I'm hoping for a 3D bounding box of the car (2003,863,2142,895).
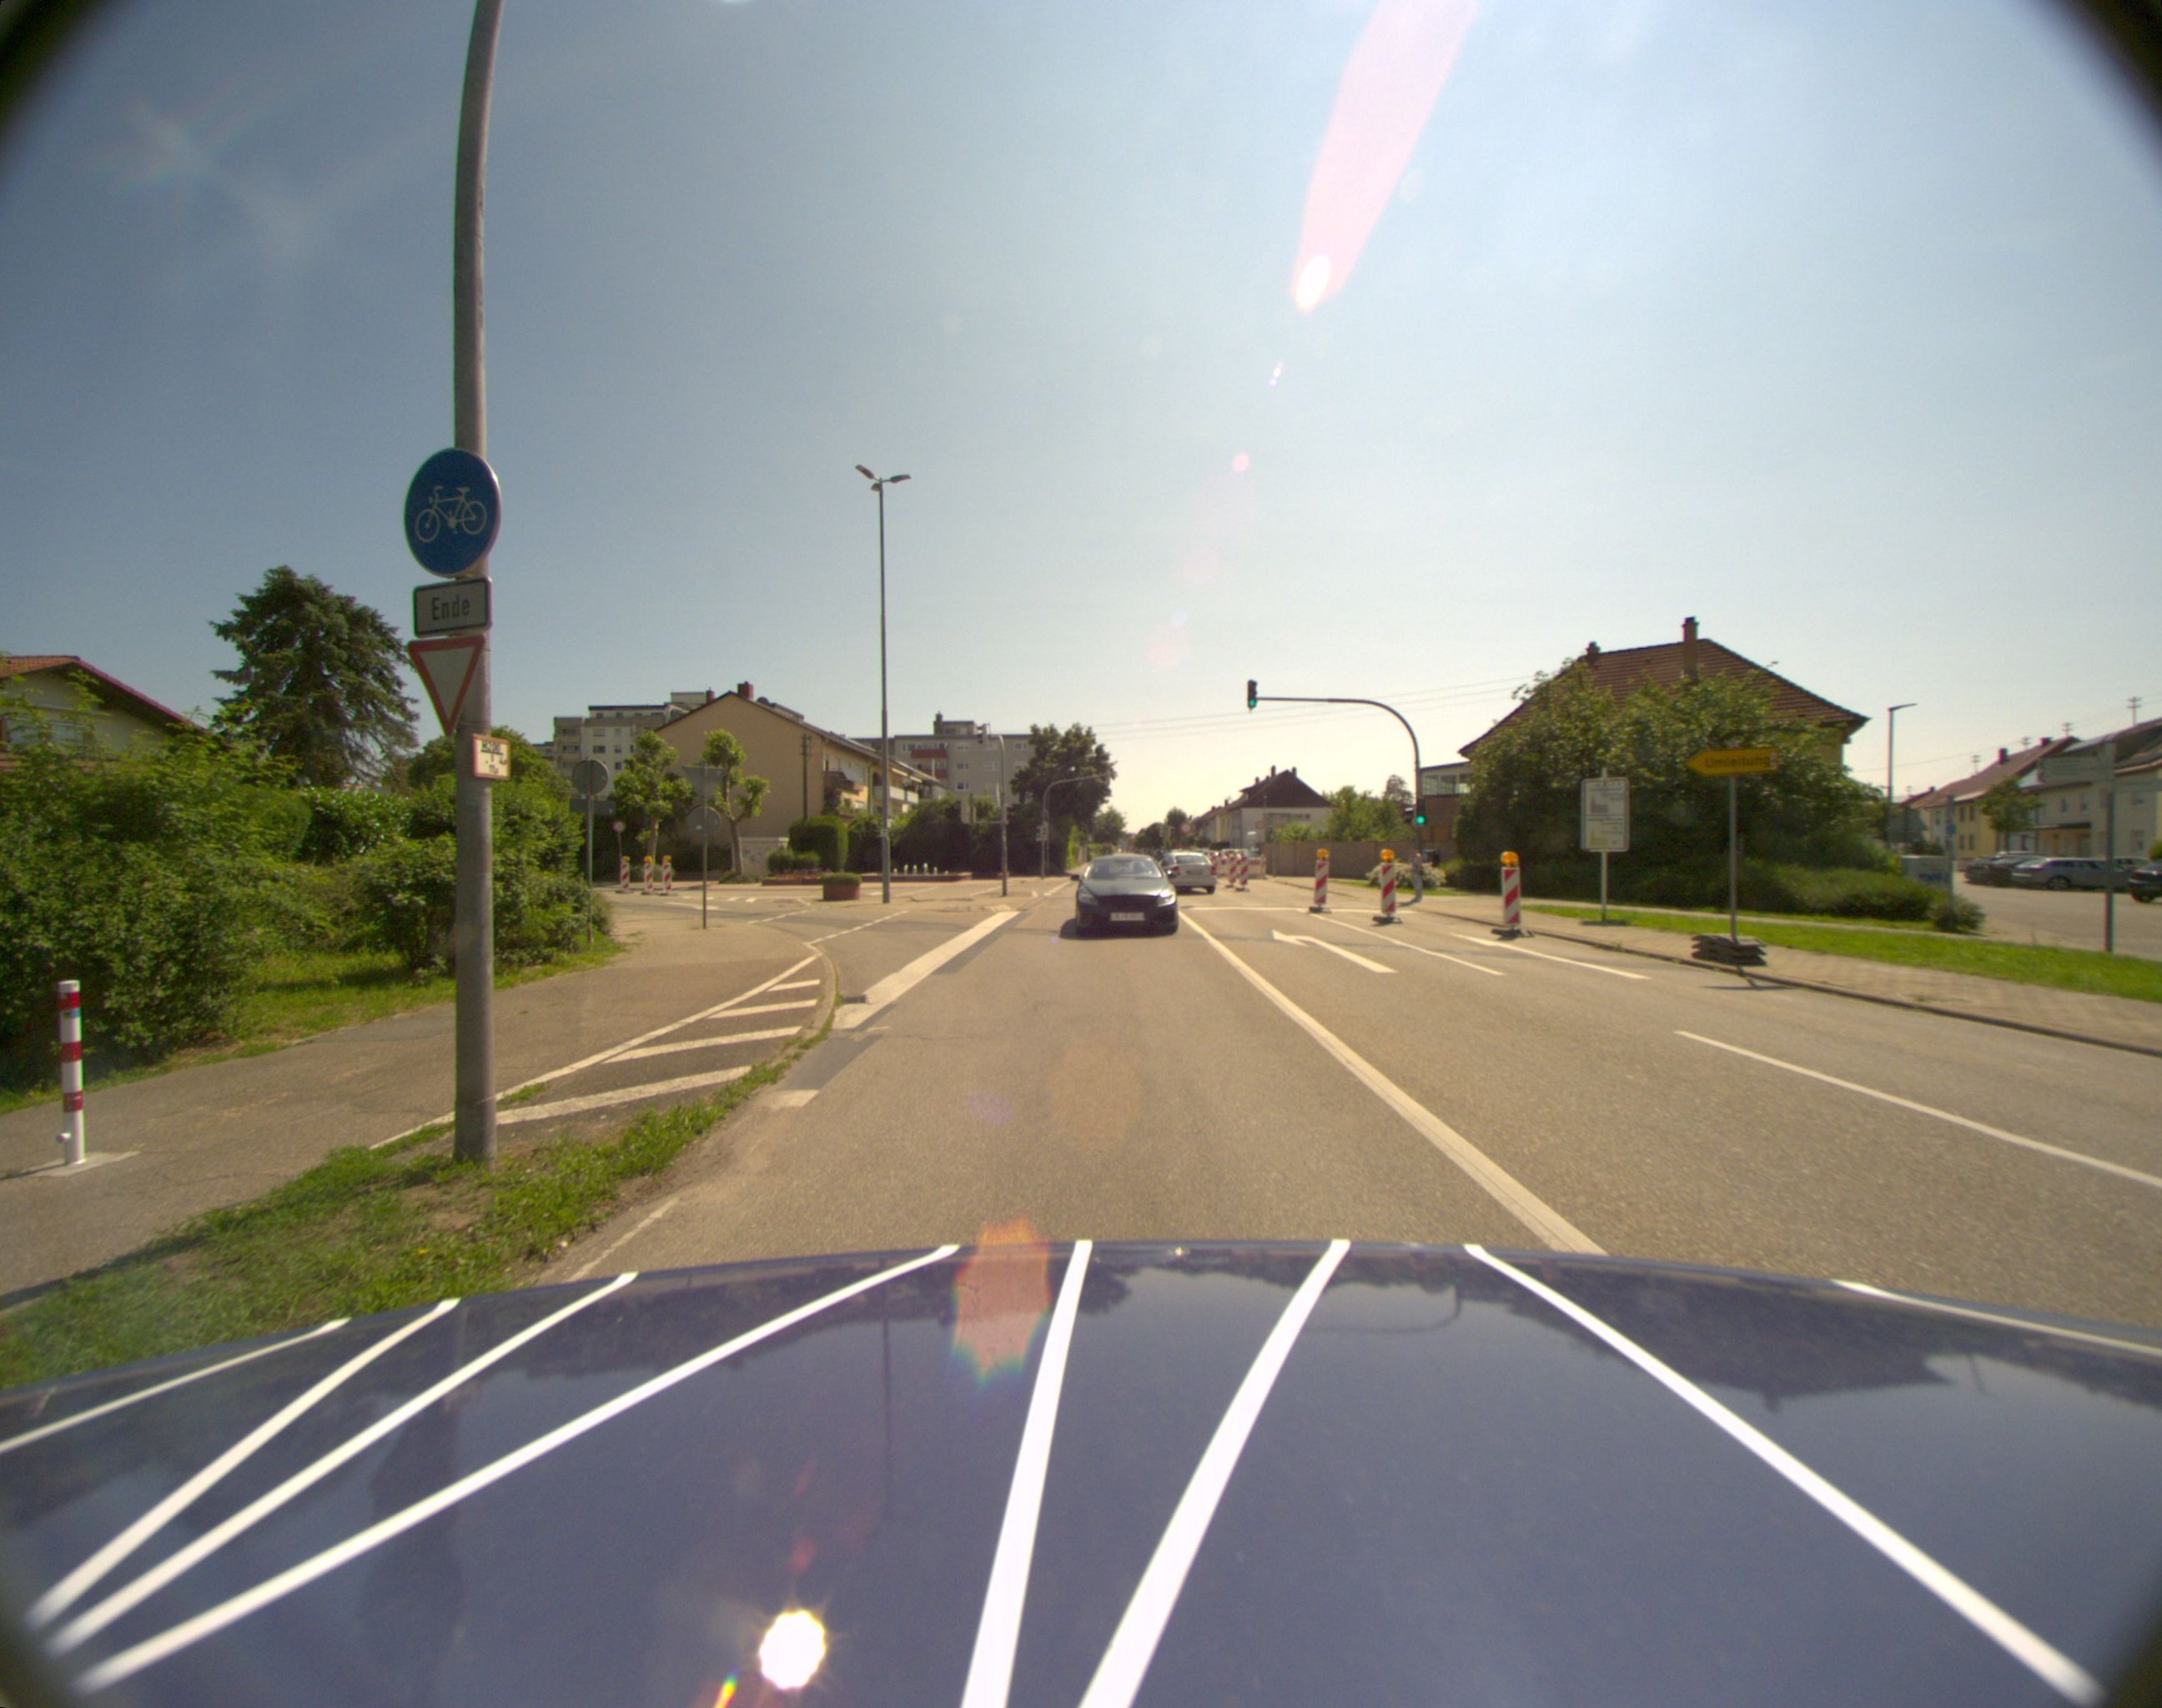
[{"bbox_3d":[42.539,1.044,32.689,3.330,1.264,1.424,1,1,30],"label":"car"}]

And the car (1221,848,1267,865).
[{"bbox_3d":[15.548,0.233,72.543,3.998,1.607,1.767,0,1,-4],"label":"car"}]

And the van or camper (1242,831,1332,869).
[{"bbox_3d":[15.698,-0.300,58.201,6.262,2.827,2.289,0,1,-7],"label":"van or camper"}]

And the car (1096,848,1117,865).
[{"bbox_3d":[2.447,0.190,73.784,1.872,1.585,4.616,0,0,0],"label":"car"}]

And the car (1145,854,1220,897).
[{"bbox_3d":[3.526,0.716,27.112,1.704,1.395,3.977,0,1,-7],"label":"car"}]

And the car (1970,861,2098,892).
[{"bbox_3d":[43.556,0.999,34.827,3.329,1.324,1.424,1,1,32],"label":"car"}]

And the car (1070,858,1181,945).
[{"bbox_3d":[0.858,0.839,15.578,1.889,1.429,4.839,-1,0,2],"label":"car"}]

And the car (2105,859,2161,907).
[{"bbox_3d":[36.338,0.903,24.457,3.995,1.452,1.804,-1,0,6],"label":"car"}]

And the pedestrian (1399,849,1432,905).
[{"bbox_3d":[9.998,0.678,22.736,0.615,1.598,0.688,-3,1,3],"label":"pedestrian"}]

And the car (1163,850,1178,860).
[{"bbox_3d":[13.071,0.142,111.460,1.739,1.504,3.916,0,1,0],"label":"car"}]

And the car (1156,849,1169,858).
[{"bbox_3d":[14.059,-0.090,131.097,1.739,1.409,3.916,0,1,0],"label":"car"}]
